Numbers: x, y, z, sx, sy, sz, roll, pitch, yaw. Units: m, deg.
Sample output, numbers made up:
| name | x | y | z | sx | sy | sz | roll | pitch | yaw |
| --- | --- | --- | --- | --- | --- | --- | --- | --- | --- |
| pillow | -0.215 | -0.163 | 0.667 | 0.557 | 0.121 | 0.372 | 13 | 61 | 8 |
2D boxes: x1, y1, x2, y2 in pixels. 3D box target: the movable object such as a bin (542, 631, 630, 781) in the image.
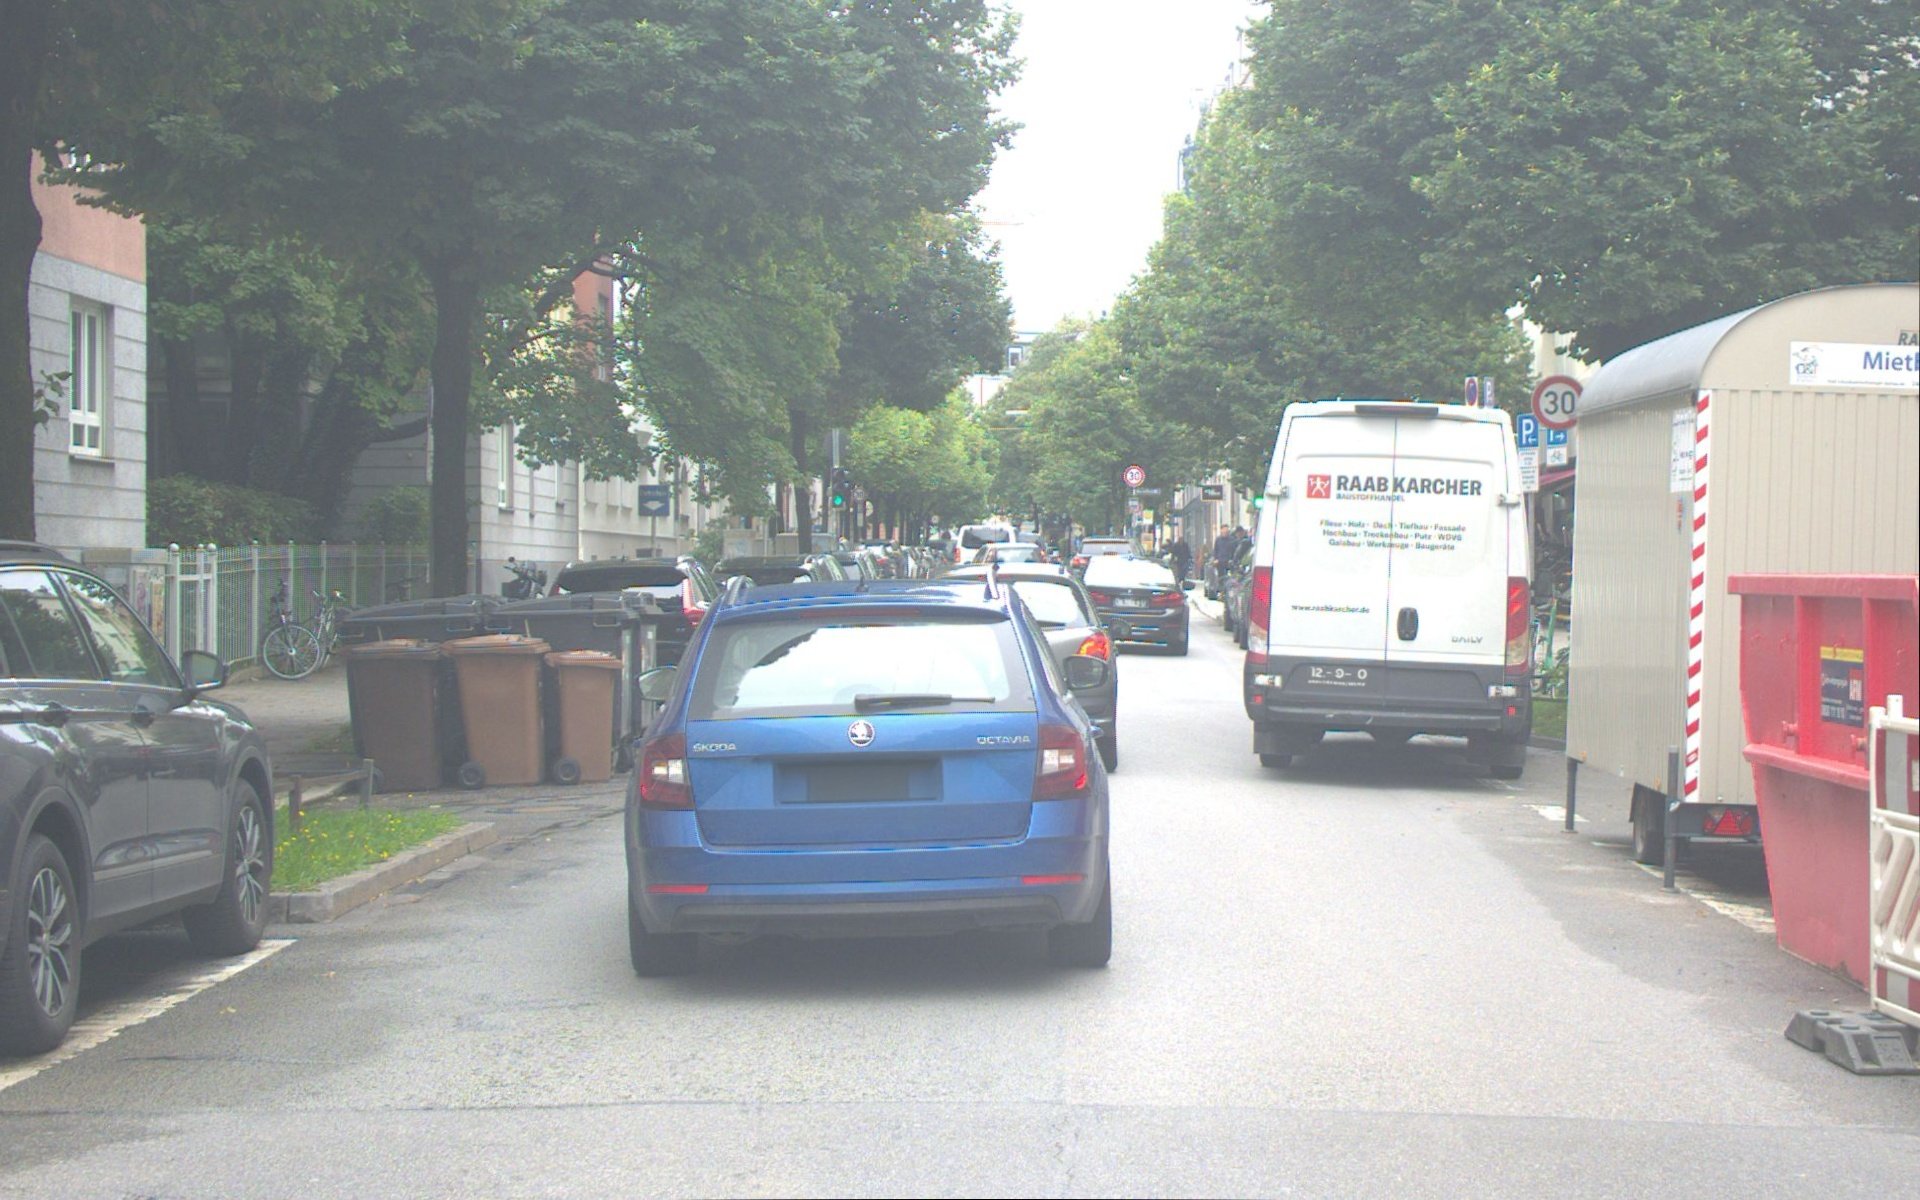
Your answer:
| name | x | y | z | sx | sy | sz | roll | pitch | yaw |
| --- | --- | --- | --- | --- | --- | --- | --- | --- | --- |
| movable object such as a bin | -2.653 | 0.745 | 24.427 | 0.546 | 1.017 | 0.636 | -2 | 1 | -2 |

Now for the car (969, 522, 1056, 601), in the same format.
| name | x | y | z | sx | sy | sz | roll | pitch | yaw |
| --- | --- | --- | --- | --- | --- | --- | --- | --- | --- |
| car | 1.176 | -0.894 | 78.231 | 1.867 | 1.690 | 4.347 | 2 | 1 | 0 |

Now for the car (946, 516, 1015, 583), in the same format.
| name | x | y | z | sx | sy | sz | roll | pitch | yaw |
| --- | --- | --- | --- | --- | --- | --- | --- | --- | --- |
| car | 0.623 | -1.500 | 100.806 | 1.867 | 1.863 | 4.347 | 2 | 1 | 1 |

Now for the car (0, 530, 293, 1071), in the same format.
| name | x | y | z | sx | sy | sz | roll | pitch | yaw |
| --- | --- | --- | --- | --- | --- | --- | --- | --- | --- |
| car | -3.712 | 0.589 | 11.993 | 1.785 | 1.623 | 4.185 | -1 | 1 | 2 |

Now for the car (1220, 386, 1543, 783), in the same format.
| name | x | y | z | sx | sy | sz | roll | pitch | yaw |
| --- | --- | --- | --- | --- | --- | --- | --- | --- | --- |
| car | 3.235 | -0.114 | 26.294 | 2.113 | 2.654 | 5.498 | 2 | 0 | 7 |

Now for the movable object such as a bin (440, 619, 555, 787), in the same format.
| name | x | y | z | sx | sy | sz | roll | pitch | yaw |
| --- | --- | --- | --- | --- | --- | --- | --- | --- | --- |
| movable object such as a bin | -3.273 | 0.720 | 24.384 | 0.711 | 1.144 | 0.636 | -2 | 1 | -2 |

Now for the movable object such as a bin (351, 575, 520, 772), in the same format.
| name | x | y | z | sx | sy | sz | roll | pitch | yaw |
| --- | --- | --- | --- | --- | --- | --- | --- | --- | --- |
| movable object such as a bin | -3.835 | 0.525 | 25.231 | 1.081 | 1.372 | 1.084 | -2 | 1 | -2 |

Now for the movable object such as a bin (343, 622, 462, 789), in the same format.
| name | x | y | z | sx | sy | sz | roll | pitch | yaw |
| --- | --- | --- | --- | --- | --- | --- | --- | --- | --- |
| movable object such as a bin | -3.942 | 0.739 | 24.348 | 0.721 | 1.134 | 0.658 | -2 | 1 | -2 |

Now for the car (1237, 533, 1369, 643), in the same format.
| name | x | y | z | sx | sy | sz | roll | pitch | yaw |
| --- | --- | --- | --- | --- | --- | --- | --- | --- | --- |
| car | 5.550 | -0.223 | 55.998 | 1.825 | 1.721 | 4.000 | 0 | 1 | 1 |

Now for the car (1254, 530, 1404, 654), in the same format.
| name | x | y | z | sx | sy | sz | roll | pitch | yaw |
| --- | --- | --- | --- | --- | --- | --- | --- | --- | --- |
| car | 5.329 | -0.141 | 50.054 | 1.825 | 1.721 | 4.000 | 0 | 1 | 1 |

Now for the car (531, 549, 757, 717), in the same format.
| name | x | y | z | sx | sy | sz | roll | pitch | yaw |
| --- | --- | --- | --- | --- | --- | --- | --- | --- | --- |
| car | -2.978 | 0.270 | 33.110 | 1.812 | 1.473 | 4.000 | 1 | 1 | 0 |

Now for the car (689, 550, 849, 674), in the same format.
| name | x | y | z | sx | sy | sz | roll | pitch | yaw |
| --- | --- | --- | --- | --- | --- | --- | --- | --- | --- |
| car | -2.389 | 0.117 | 43.828 | 1.812 | 1.473 | 4.000 | 1 | 1 | 0 |

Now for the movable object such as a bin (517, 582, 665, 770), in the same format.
| name | x | y | z | sx | sy | sz | roll | pitch | yaw |
| --- | --- | --- | --- | --- | --- | --- | --- | --- | --- |
| movable object such as a bin | -2.822 | 0.565 | 26.383 | 1.020 | 1.372 | 1.104 | -2 | 1 | -2 |

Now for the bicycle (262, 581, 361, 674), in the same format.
| name | x | y | z | sx | sy | sz | roll | pitch | yaw |
| --- | --- | --- | --- | --- | --- | --- | --- | --- | --- |
| bicycle | -7.834 | 0.314 | 41.621 | 0.635 | 1.063 | 2.387 | 0 | 1 | 2 |

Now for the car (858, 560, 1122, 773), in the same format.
| name | x | y | z | sx | sy | sz | roll | pitch | yaw |
| --- | --- | --- | --- | --- | --- | --- | --- | --- | --- |
| car | 0.288 | 0.438 | 25.171 | 1.741 | 1.417 | 3.663 | 1 | 0 | 3 |

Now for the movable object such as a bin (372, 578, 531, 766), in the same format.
| name | x | y | z | sx | sy | sz | roll | pitch | yaw |
| --- | --- | --- | --- | --- | --- | --- | --- | --- | --- |
| movable object such as a bin | -3.879 | 0.535 | 26.333 | 1.057 | 1.372 | 1.096 | -2 | 1 | -2 |

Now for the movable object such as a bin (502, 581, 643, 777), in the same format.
| name | x | y | z | sx | sy | sz | roll | pitch | yaw |
| --- | --- | --- | --- | --- | --- | --- | --- | --- | --- |
| movable object such as a bin | -2.838 | 0.564 | 25.285 | 0.918 | 1.372 | 1.080 | -2 | 1 | -2 |

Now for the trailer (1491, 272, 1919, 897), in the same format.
| name | x | y | z | sx | sy | sz | roll | pitch | yaw |
| --- | --- | --- | --- | --- | --- | --- | --- | --- | --- |
| trailer | 4.693 | -0.064 | 19.152 | 2.502 | 2.830 | 6.901 | 2 | 0 | 2 |

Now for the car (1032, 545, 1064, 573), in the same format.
| name | x | y | z | sx | sy | sz | roll | pitch | yaw |
| --- | --- | --- | --- | --- | --- | --- | --- | --- | --- |
| car | 5.428 | -2.547 | 211.991 | 1.867 | 1.734 | 4.347 | 0 | 1 | 1 |

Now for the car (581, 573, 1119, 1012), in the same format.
| name | x | y | z | sx | sy | sz | roll | pitch | yaw |
| --- | --- | --- | --- | --- | --- | --- | --- | --- | --- |
| car | -0.320 | 0.622 | 13.591 | 1.789 | 1.455 | 4.314 | 0 | 0 | 1 |

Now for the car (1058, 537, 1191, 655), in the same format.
| name | x | y | z | sx | sy | sz | roll | pitch | yaw |
| --- | --- | --- | --- | --- | --- | --- | --- | --- | --- |
| car | 2.496 | -0.101 | 53.051 | 1.867 | 1.690 | 4.347 | 2 | 1 | 1 |

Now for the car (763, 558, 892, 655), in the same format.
| name | x | y | z | sx | sy | sz | roll | pitch | yaw |
| --- | --- | --- | --- | --- | --- | --- | --- | --- | --- |
| car | -2.118 | 0.072 | 55.868 | 1.812 | 1.473 | 4.000 | 1 | 1 | 2 |
